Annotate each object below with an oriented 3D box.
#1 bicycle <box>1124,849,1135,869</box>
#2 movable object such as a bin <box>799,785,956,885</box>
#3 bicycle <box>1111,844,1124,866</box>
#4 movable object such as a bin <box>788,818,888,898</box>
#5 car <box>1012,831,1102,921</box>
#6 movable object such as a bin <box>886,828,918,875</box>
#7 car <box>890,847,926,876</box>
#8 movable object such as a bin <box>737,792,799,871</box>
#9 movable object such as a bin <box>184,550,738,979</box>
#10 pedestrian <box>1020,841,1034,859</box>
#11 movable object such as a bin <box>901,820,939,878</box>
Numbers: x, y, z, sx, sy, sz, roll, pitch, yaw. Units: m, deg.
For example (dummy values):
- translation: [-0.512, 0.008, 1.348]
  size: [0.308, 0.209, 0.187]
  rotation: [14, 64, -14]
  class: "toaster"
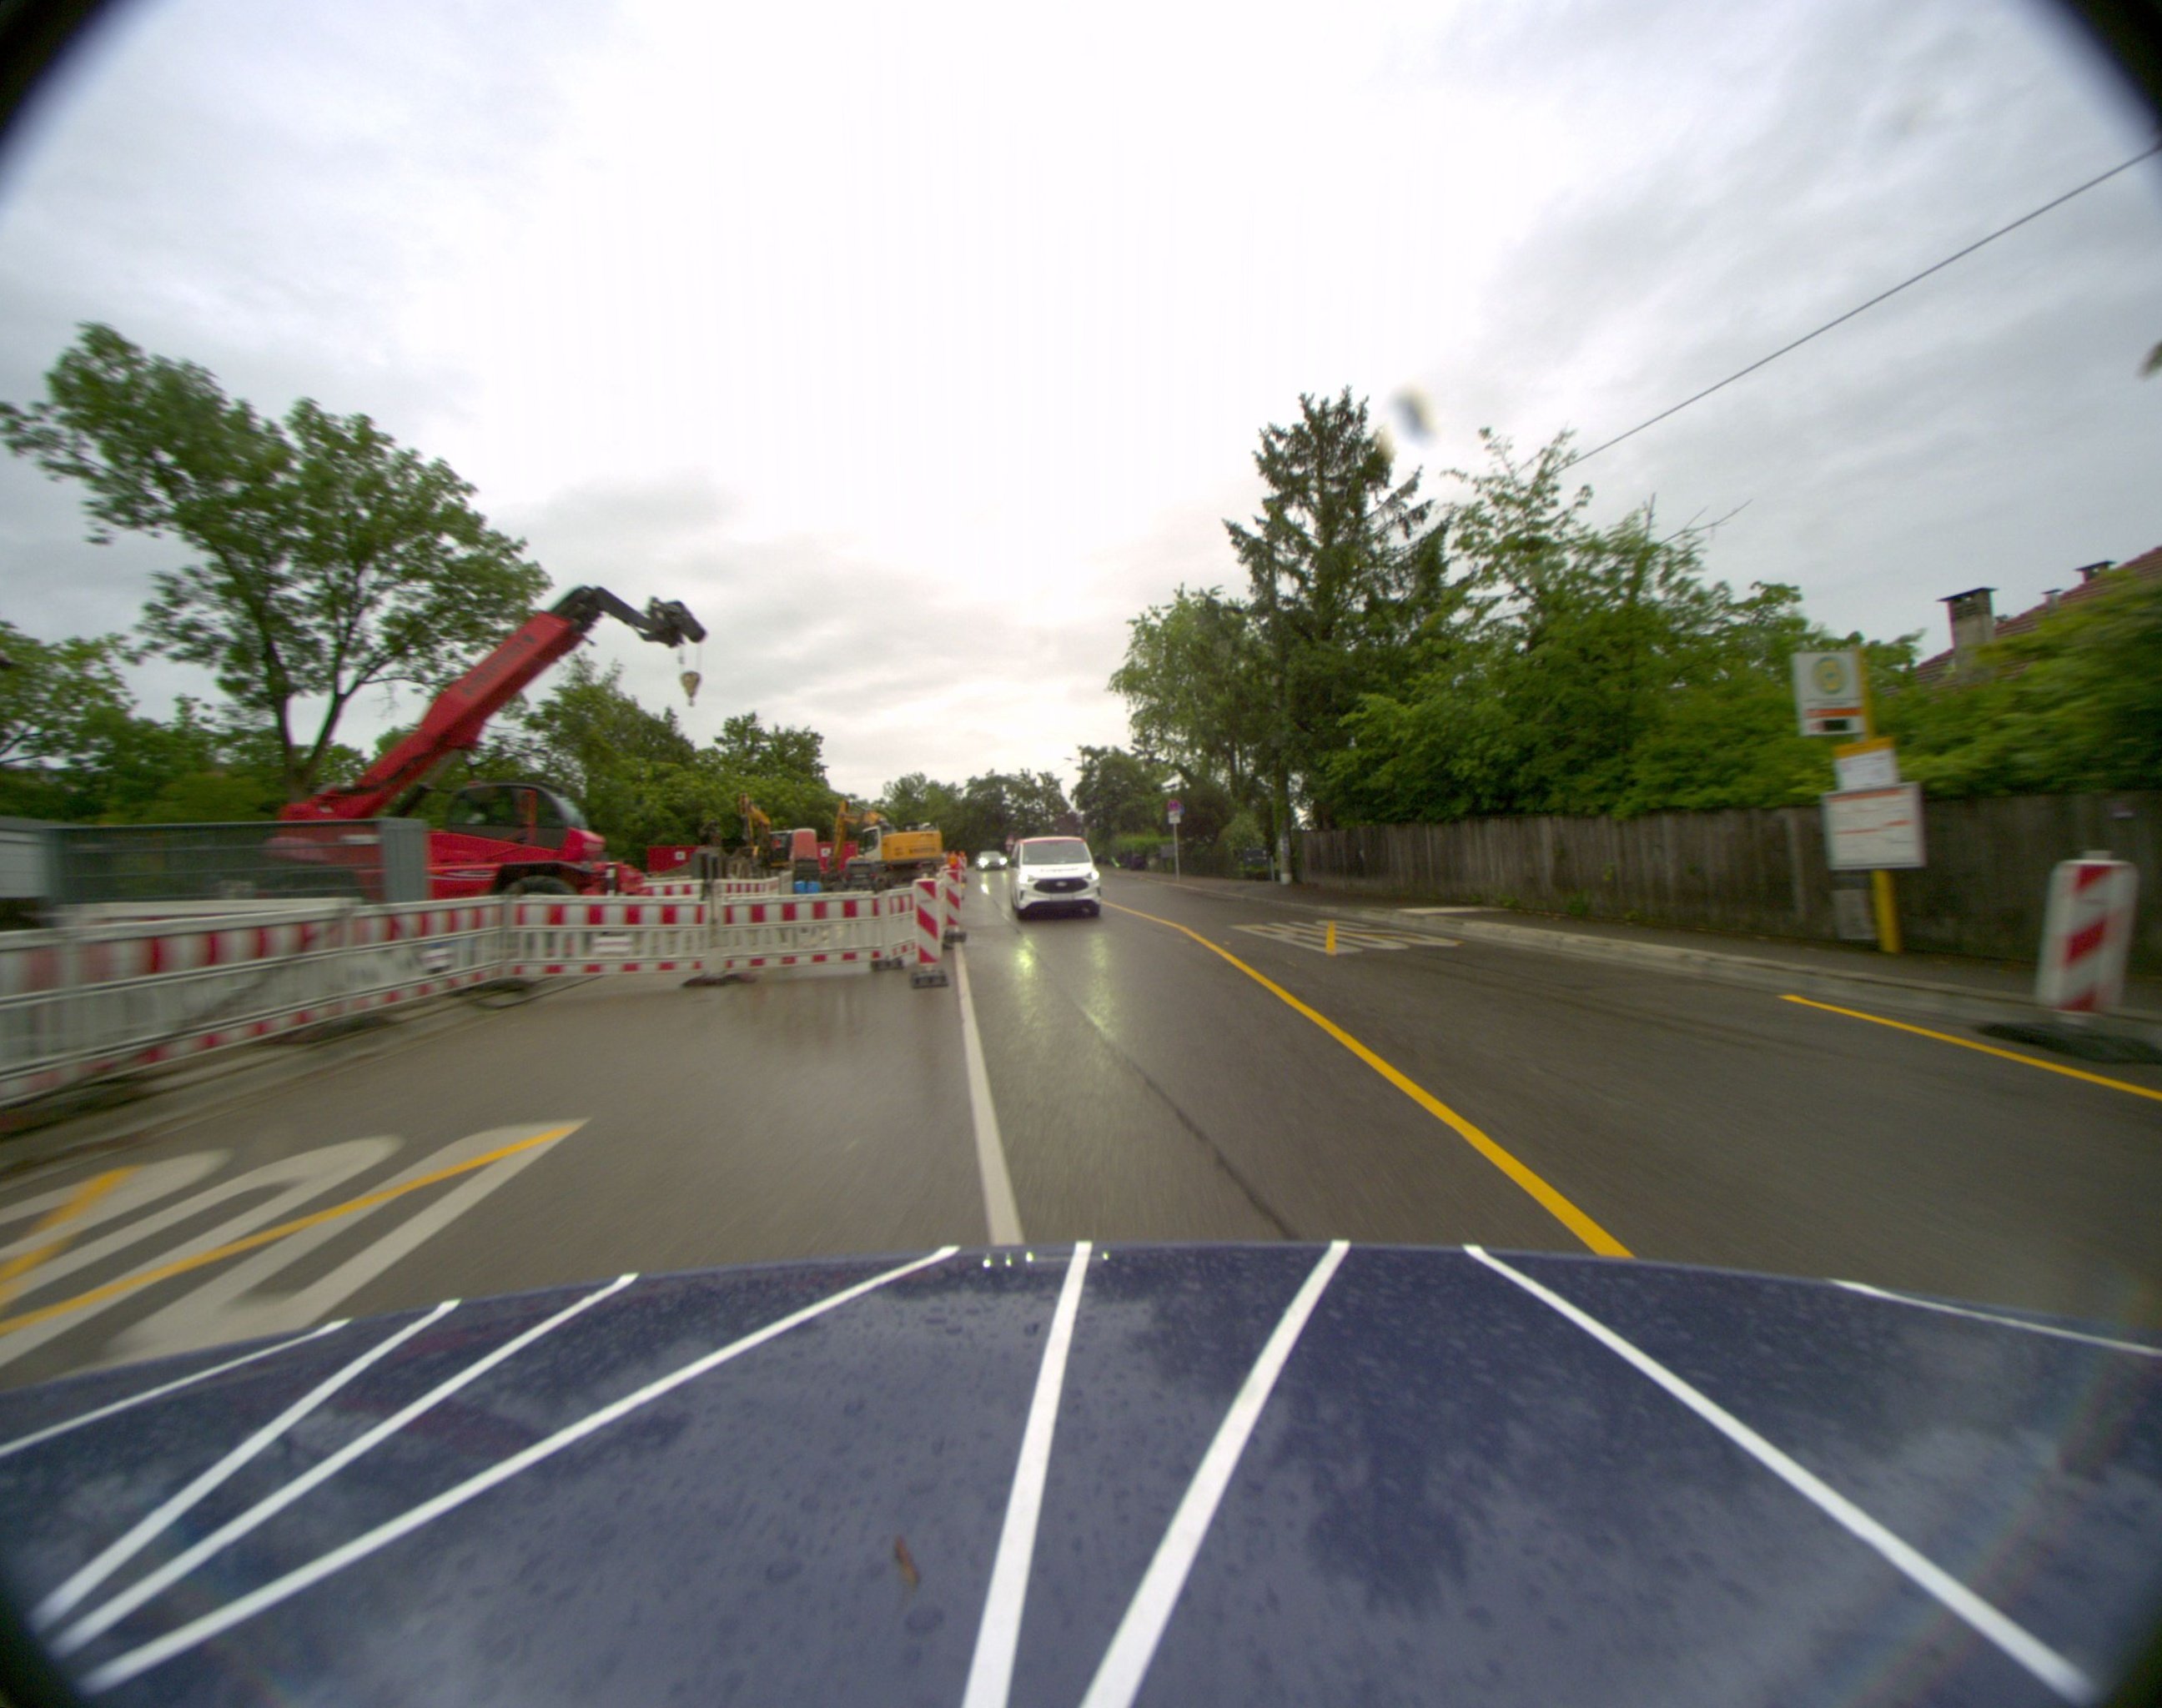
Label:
- translation: [2.834, 0.272, 44.675]
  size: [0.339, 1.101, 1.254]
  rotation: [-3, 2, -9]
  class: "bicycle"
- translation: [-11.444, -1.087, 41.764]
  size: [10.787, 4.892, 3.072]
  rotation: [1, 5, 45]
  class: "movable object such as a bin"
- translation: [2.296, 0.052, 47.919]
  size: [0.422, 1.342, 1.740]
  rotation: [-3, 2, -9]
  class: "bicycle"
- translation: [-11.035, 0.216, 34.584]
  size: [4.002, 3.183, 2.406]
  rotation: [-4, -4, -18]
  class: "movable object such as a bin"
- translation: [-0.751, 0.537, 19.543]
  size: [1.999, 2.001, 4.947]
  rotation: [1, -1, -5]
  class: "car"
- translation: [-14.904, -0.128, 62.983]
  size: [2.083, 3.205, 5.281]
  rotation: [-4, -4, -17]
  class: "movable object such as a bin"
- translation: [-11.989, 0.476, 53.002]
  size: [2.000, 1.769, 4.993]
  rotation: [-3, 1, -9]
  class: "car"
- translation: [-16.492, -1.143, 40.287]
  size: [2.000, 3.866, 4.612]
  rotation: [-3, 1, -11]
  class: "movable object such as a bin"
- translation: [-10.618, -1.540, 14.075]
  size: [6.974, 6.652, 3.041]
  rotation: [-3, 2, -13]
  class: "movable object such as a bin"
- translation: [-5.479, -0.400, 77.043]
  size: [0.927, 1.757, 0.978]
  rotation: [-3, 0, -38]
  class: "pedestrian"
- translation: [-9.752, -0.372, 45.827]
  size: [2.001, 3.288, 3.829]
  rotation: [-3, 4, -13]
  class: "movable object such as a bin"
